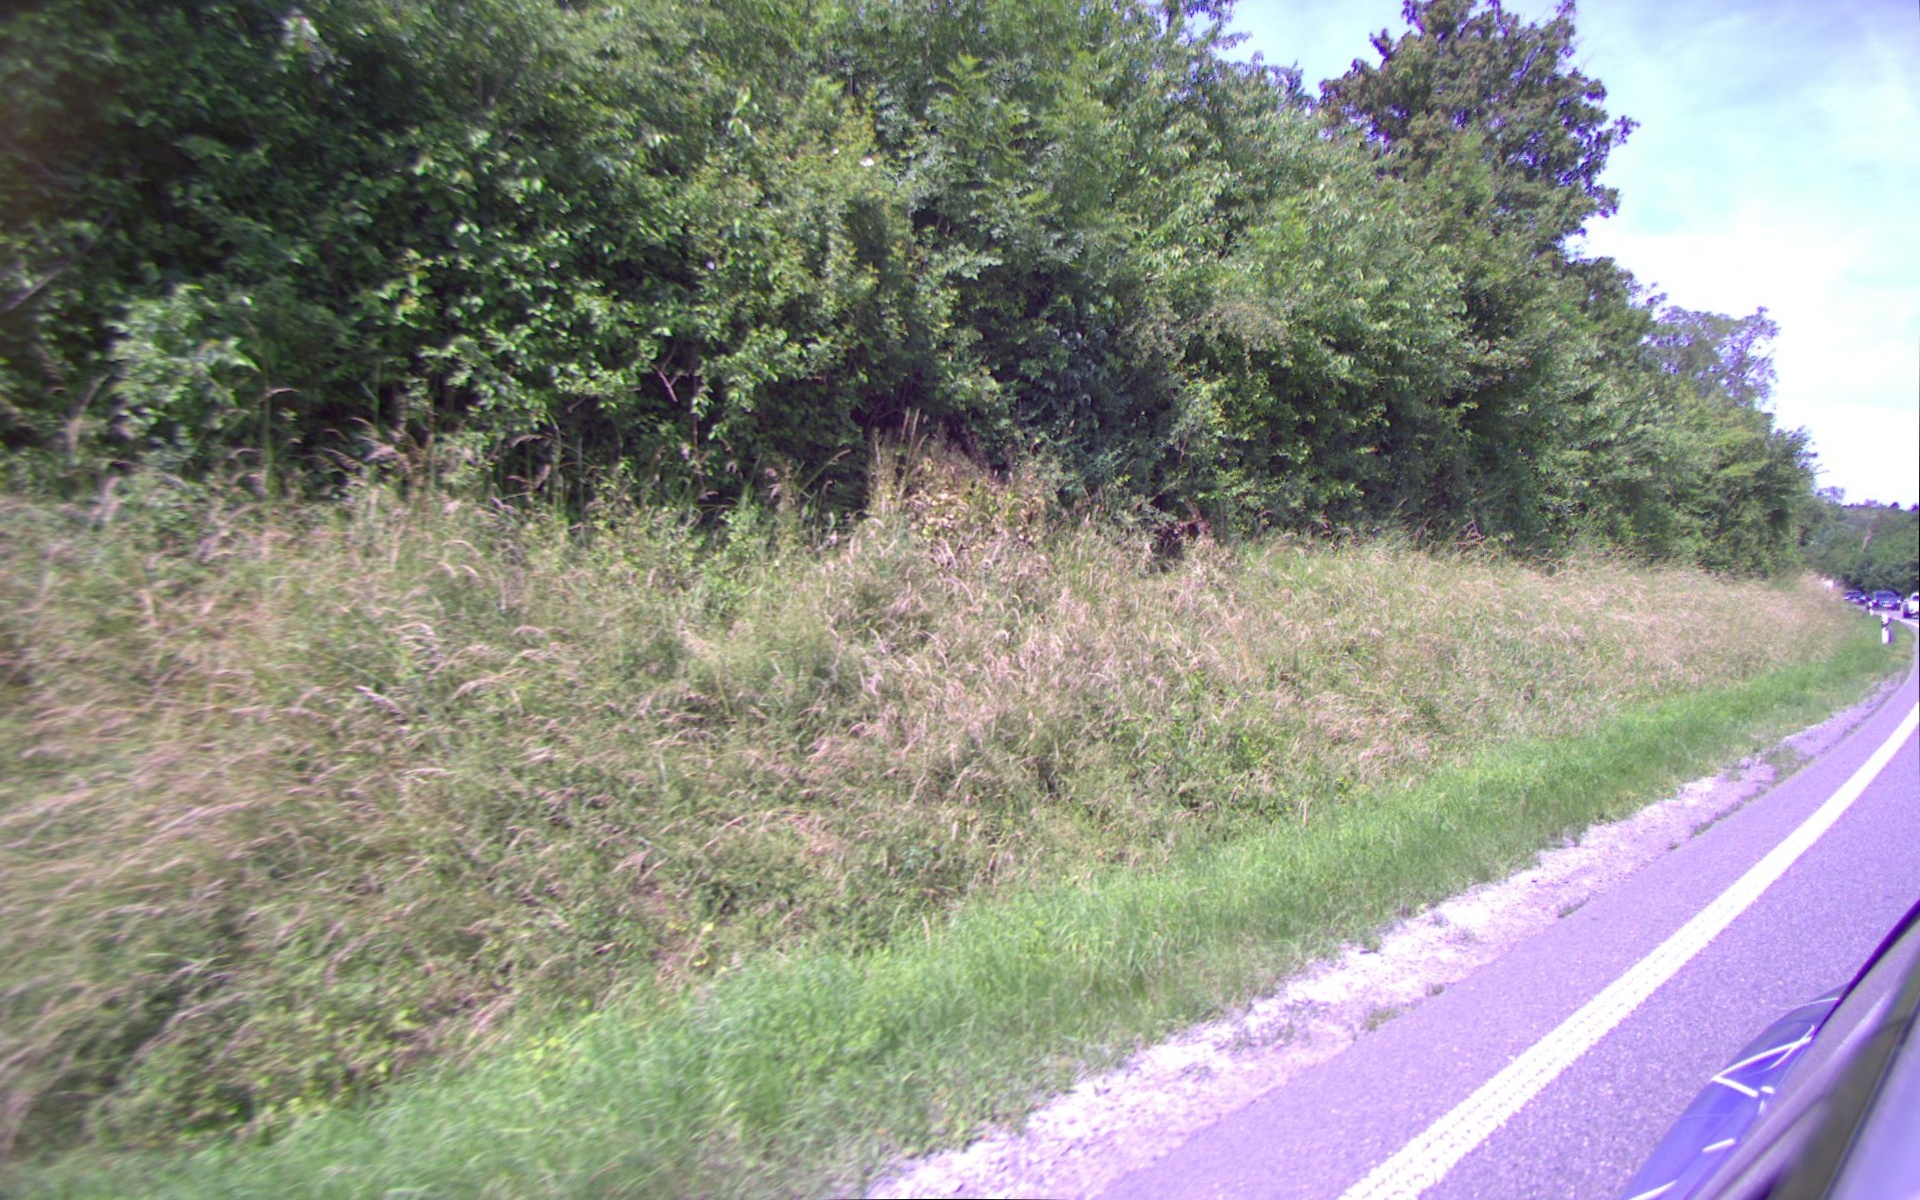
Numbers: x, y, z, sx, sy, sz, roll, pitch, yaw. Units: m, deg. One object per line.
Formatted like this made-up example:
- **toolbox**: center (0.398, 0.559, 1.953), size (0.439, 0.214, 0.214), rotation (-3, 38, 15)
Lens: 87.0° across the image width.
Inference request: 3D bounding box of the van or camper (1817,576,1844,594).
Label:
- **van or camper**: center (125.182, -2.136, 145.543), size (2.201, 2.559, 6.058), rotation (1, 2, 34)

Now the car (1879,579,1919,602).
- **car**: center (73.857, -0.765, 79.555), size (1.816, 1.537, 3.948), rotation (7, 5, 36)

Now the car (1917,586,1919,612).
- **car**: center (57.749, -0.049, 59.605), size (1.859, 1.507, 3.941), rotation (0, 1, 41)

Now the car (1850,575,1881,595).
- **car**: center (86.185, -1.457, 96.337), size (1.658, 1.669, 3.949), rotation (7, 5, 36)
